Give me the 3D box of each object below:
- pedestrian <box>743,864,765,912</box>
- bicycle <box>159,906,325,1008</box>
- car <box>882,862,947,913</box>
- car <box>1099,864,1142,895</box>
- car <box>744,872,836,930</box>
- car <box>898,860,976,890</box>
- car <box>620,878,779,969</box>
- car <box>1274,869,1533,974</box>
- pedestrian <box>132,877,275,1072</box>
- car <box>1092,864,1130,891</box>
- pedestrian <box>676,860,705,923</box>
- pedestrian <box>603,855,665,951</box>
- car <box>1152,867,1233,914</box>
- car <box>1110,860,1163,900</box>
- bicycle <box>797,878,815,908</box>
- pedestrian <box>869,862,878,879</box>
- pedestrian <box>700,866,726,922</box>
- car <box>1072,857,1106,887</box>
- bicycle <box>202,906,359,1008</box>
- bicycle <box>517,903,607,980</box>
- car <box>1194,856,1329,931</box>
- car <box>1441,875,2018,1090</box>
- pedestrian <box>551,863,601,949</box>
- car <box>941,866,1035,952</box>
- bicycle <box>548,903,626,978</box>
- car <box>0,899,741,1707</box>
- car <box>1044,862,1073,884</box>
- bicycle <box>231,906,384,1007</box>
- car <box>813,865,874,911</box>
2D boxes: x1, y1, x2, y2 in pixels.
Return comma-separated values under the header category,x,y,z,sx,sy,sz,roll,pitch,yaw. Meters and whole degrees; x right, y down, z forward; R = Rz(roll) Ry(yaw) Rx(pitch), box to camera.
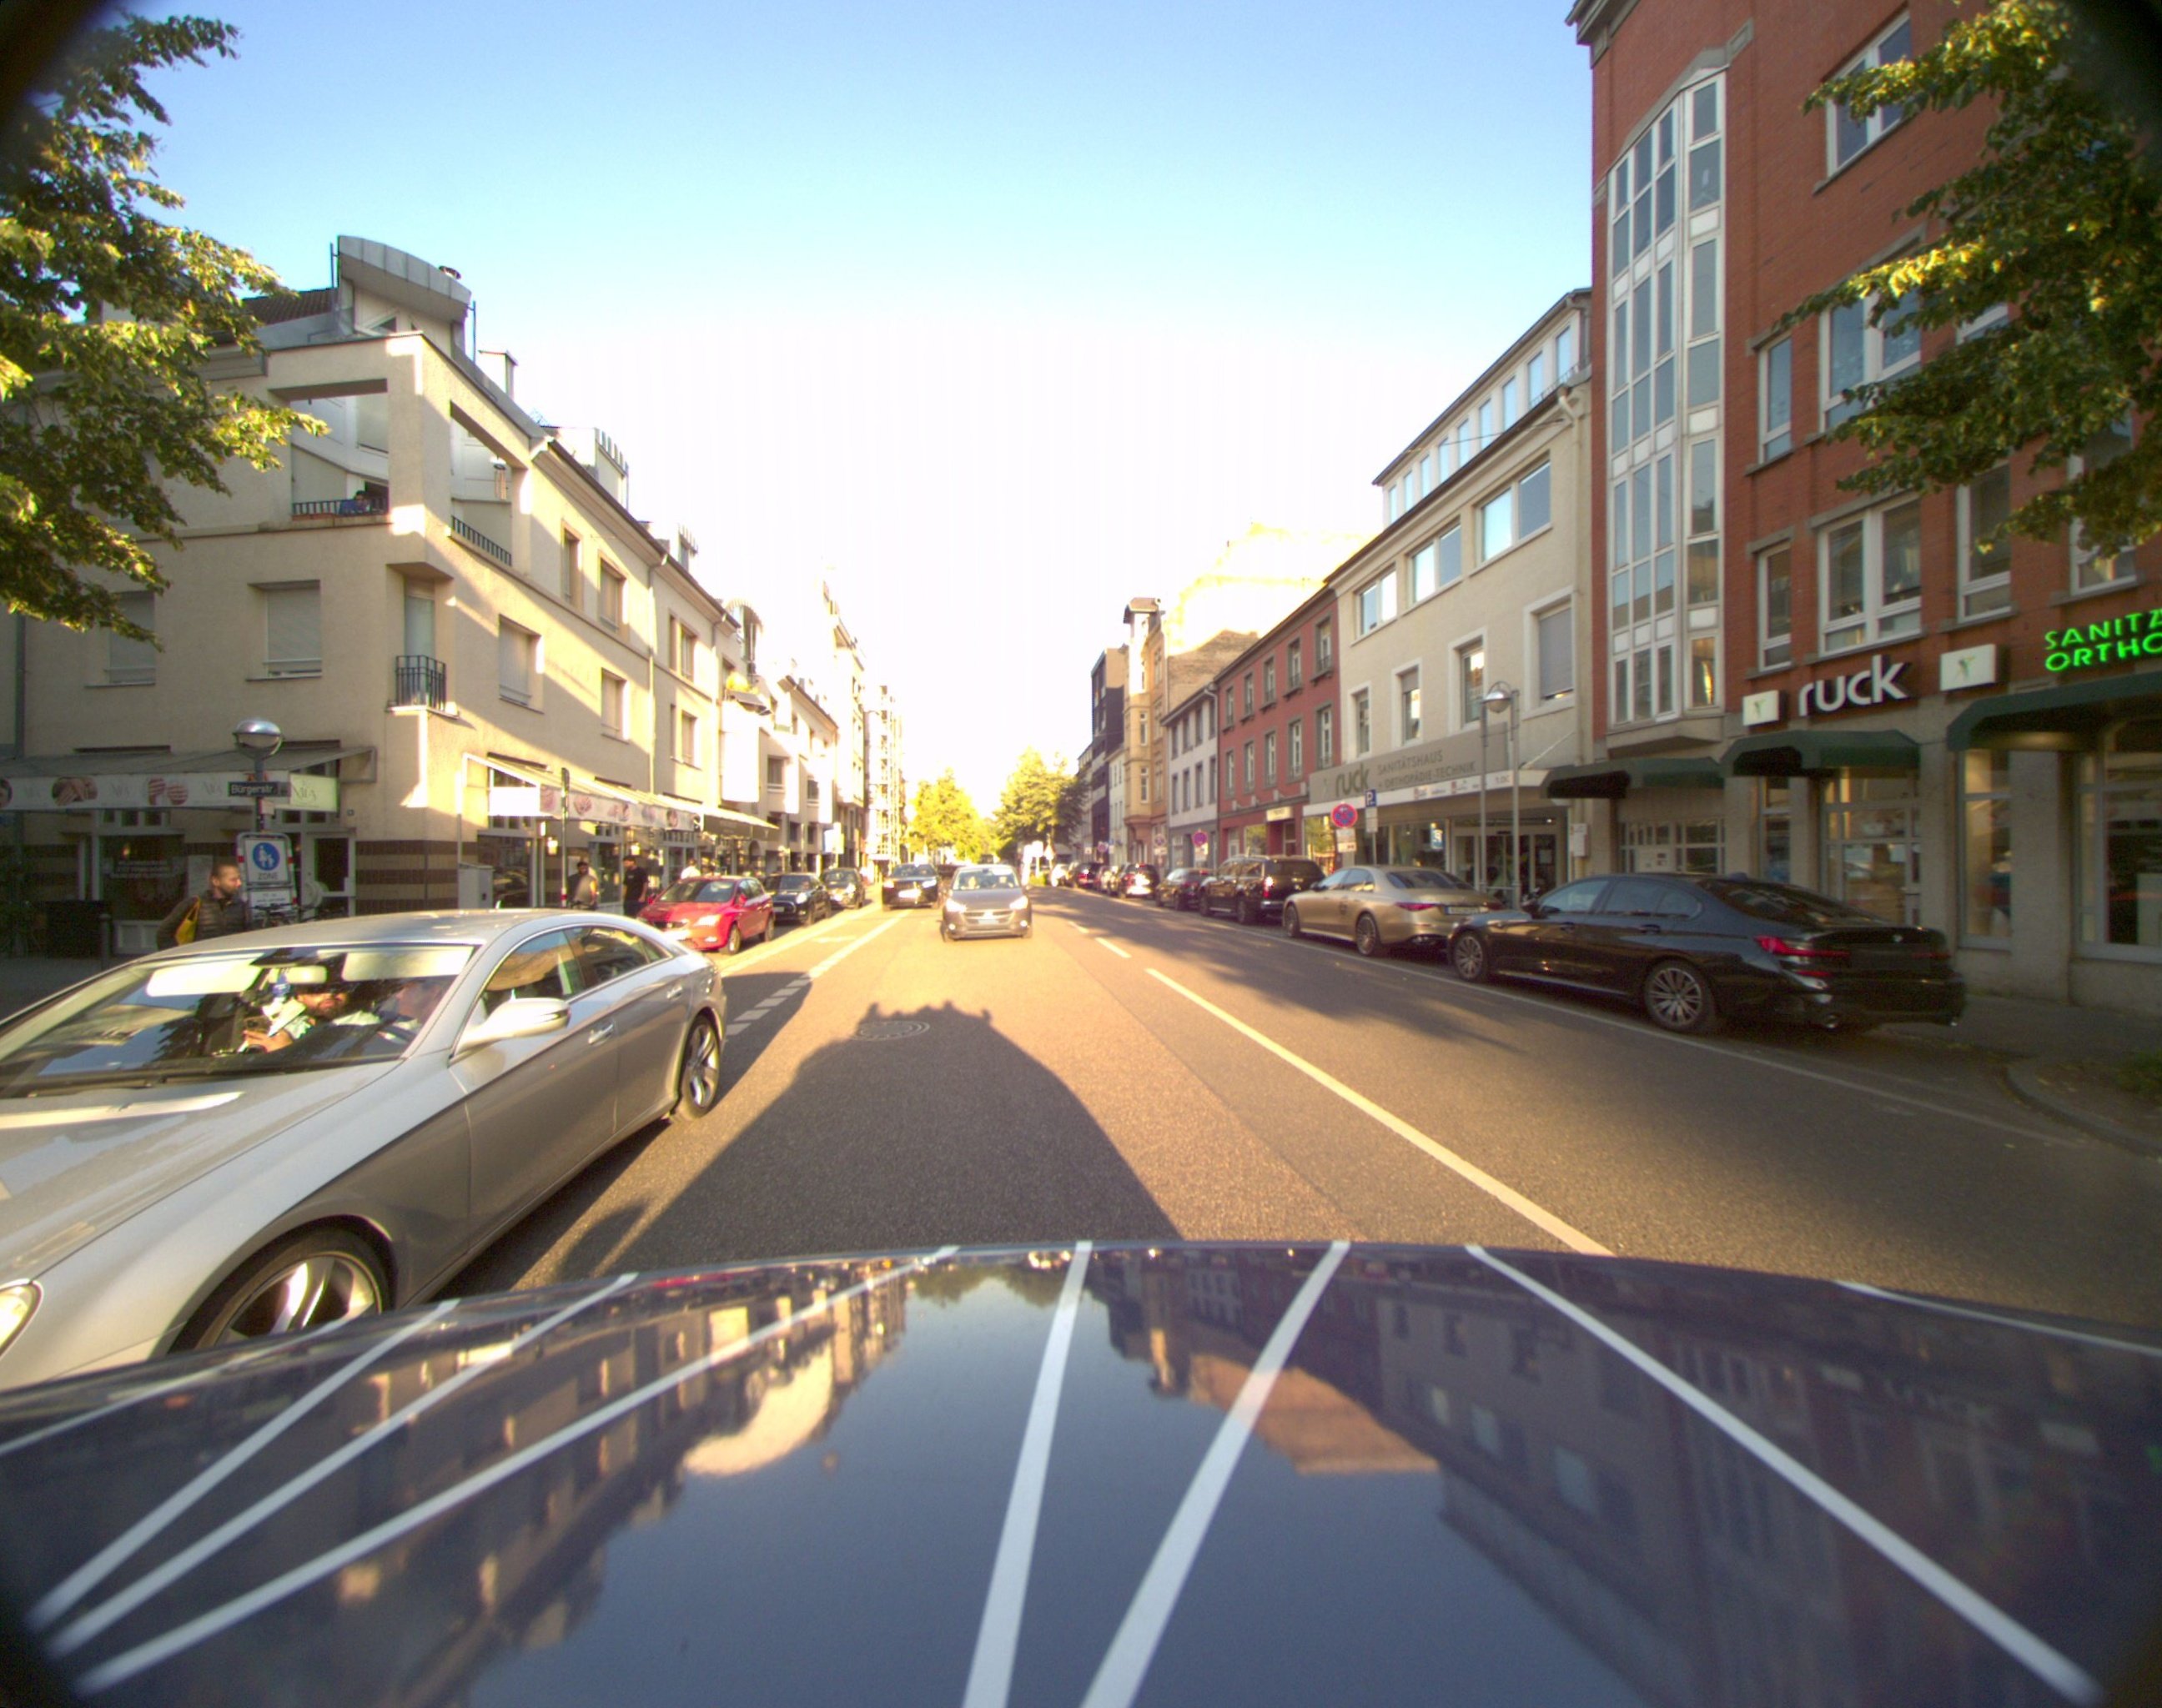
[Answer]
category,x,y,z,sx,sy,sz,roll,pitch,yaw
pedestrian,-12.405,1.291,28.829,0.576,1.789,0.450,-2,1,-7
bicycle,-11.085,1.312,10.133,0.322,1.098,1.878,-1,0,-7
car,-5.941,1.146,27.522,1.891,1.626,4.224,-2,0,-8
car,2.034,1.309,40.121,1.690,1.461,3.689,2,-1,-6
car,-8.196,1.276,21.735,1.622,1.425,3.923,0,0,-8
car,-8.381,1.215,44.546,4.293,1.665,1.735,0,0,-2
car,-7.201,1.225,14.767,1.594,1.425,3.923,0,0,-8
car,5.339,1.031,13.549,2.000,1.463,5.104,1,-1,-6
pedestrian,-8.217,1.066,7.121,0.795,1.666,0.704,2,1,28
car,1.709,1.332,44.129,1.674,1.448,3.563,2,-1,-6
pedestrian,-11.016,1.046,21.431,0.545,1.748,0.502,2,0,-8
pedestrian,-9.129,0.981,15.554,0.779,1.872,0.669,-4,1,-8
car,3.783,1.222,26.501,1.707,1.429,4.012,2,-1,-8
car,2.479,1.149,34.902,1.726,1.673,4.047,2,-1,-6
bicycle,-10.637,1.512,29.396,0.296,1.079,1.462,-1,0,-7
pedestrian,-15.519,1.243,56.852,0.492,1.256,0.421,-2,1,-7
pedestrian,-10.489,1.136,21.683,0.521,1.583,0.408,2,0,-8
car,0.451,1.137,47.877,1.674,1.763,3.563,2,-1,-6
bicycle,-10.599,1.315,10.152,0.291,1.098,1.886,-1,0,-7
bicycle,-8.379,1.378,12.345,0.315,1.040,1.881,0,0,-5
car,4.628,0.961,20.320,1.726,1.768,4.935,1,-1,-9
car,5.886,1.017,7.854,1.726,1.464,4.538,2,-1,-7
pedestrian,-10.476,1.052,15.780,0.631,1.739,0.669,0,0,-8
car,-1.919,1.015,15.540,1.623,1.465,3.686,-2,0,-8
bicycle,-8.035,1.377,12.416,0.315,1.040,1.664,0,0,-5
car,-3.049,1.076,3.125,1.748,1.393,4.635,-2,1,-8
car,-1.660,1.343,54.892,1.674,1.512,3.562,1,0,-8
bicycle,-10.288,1.311,10.197,0.322,1.098,1.878,-1,0,-7
car,-9.039,1.256,29.176,1.622,1.583,3.923,-1,0,-8
